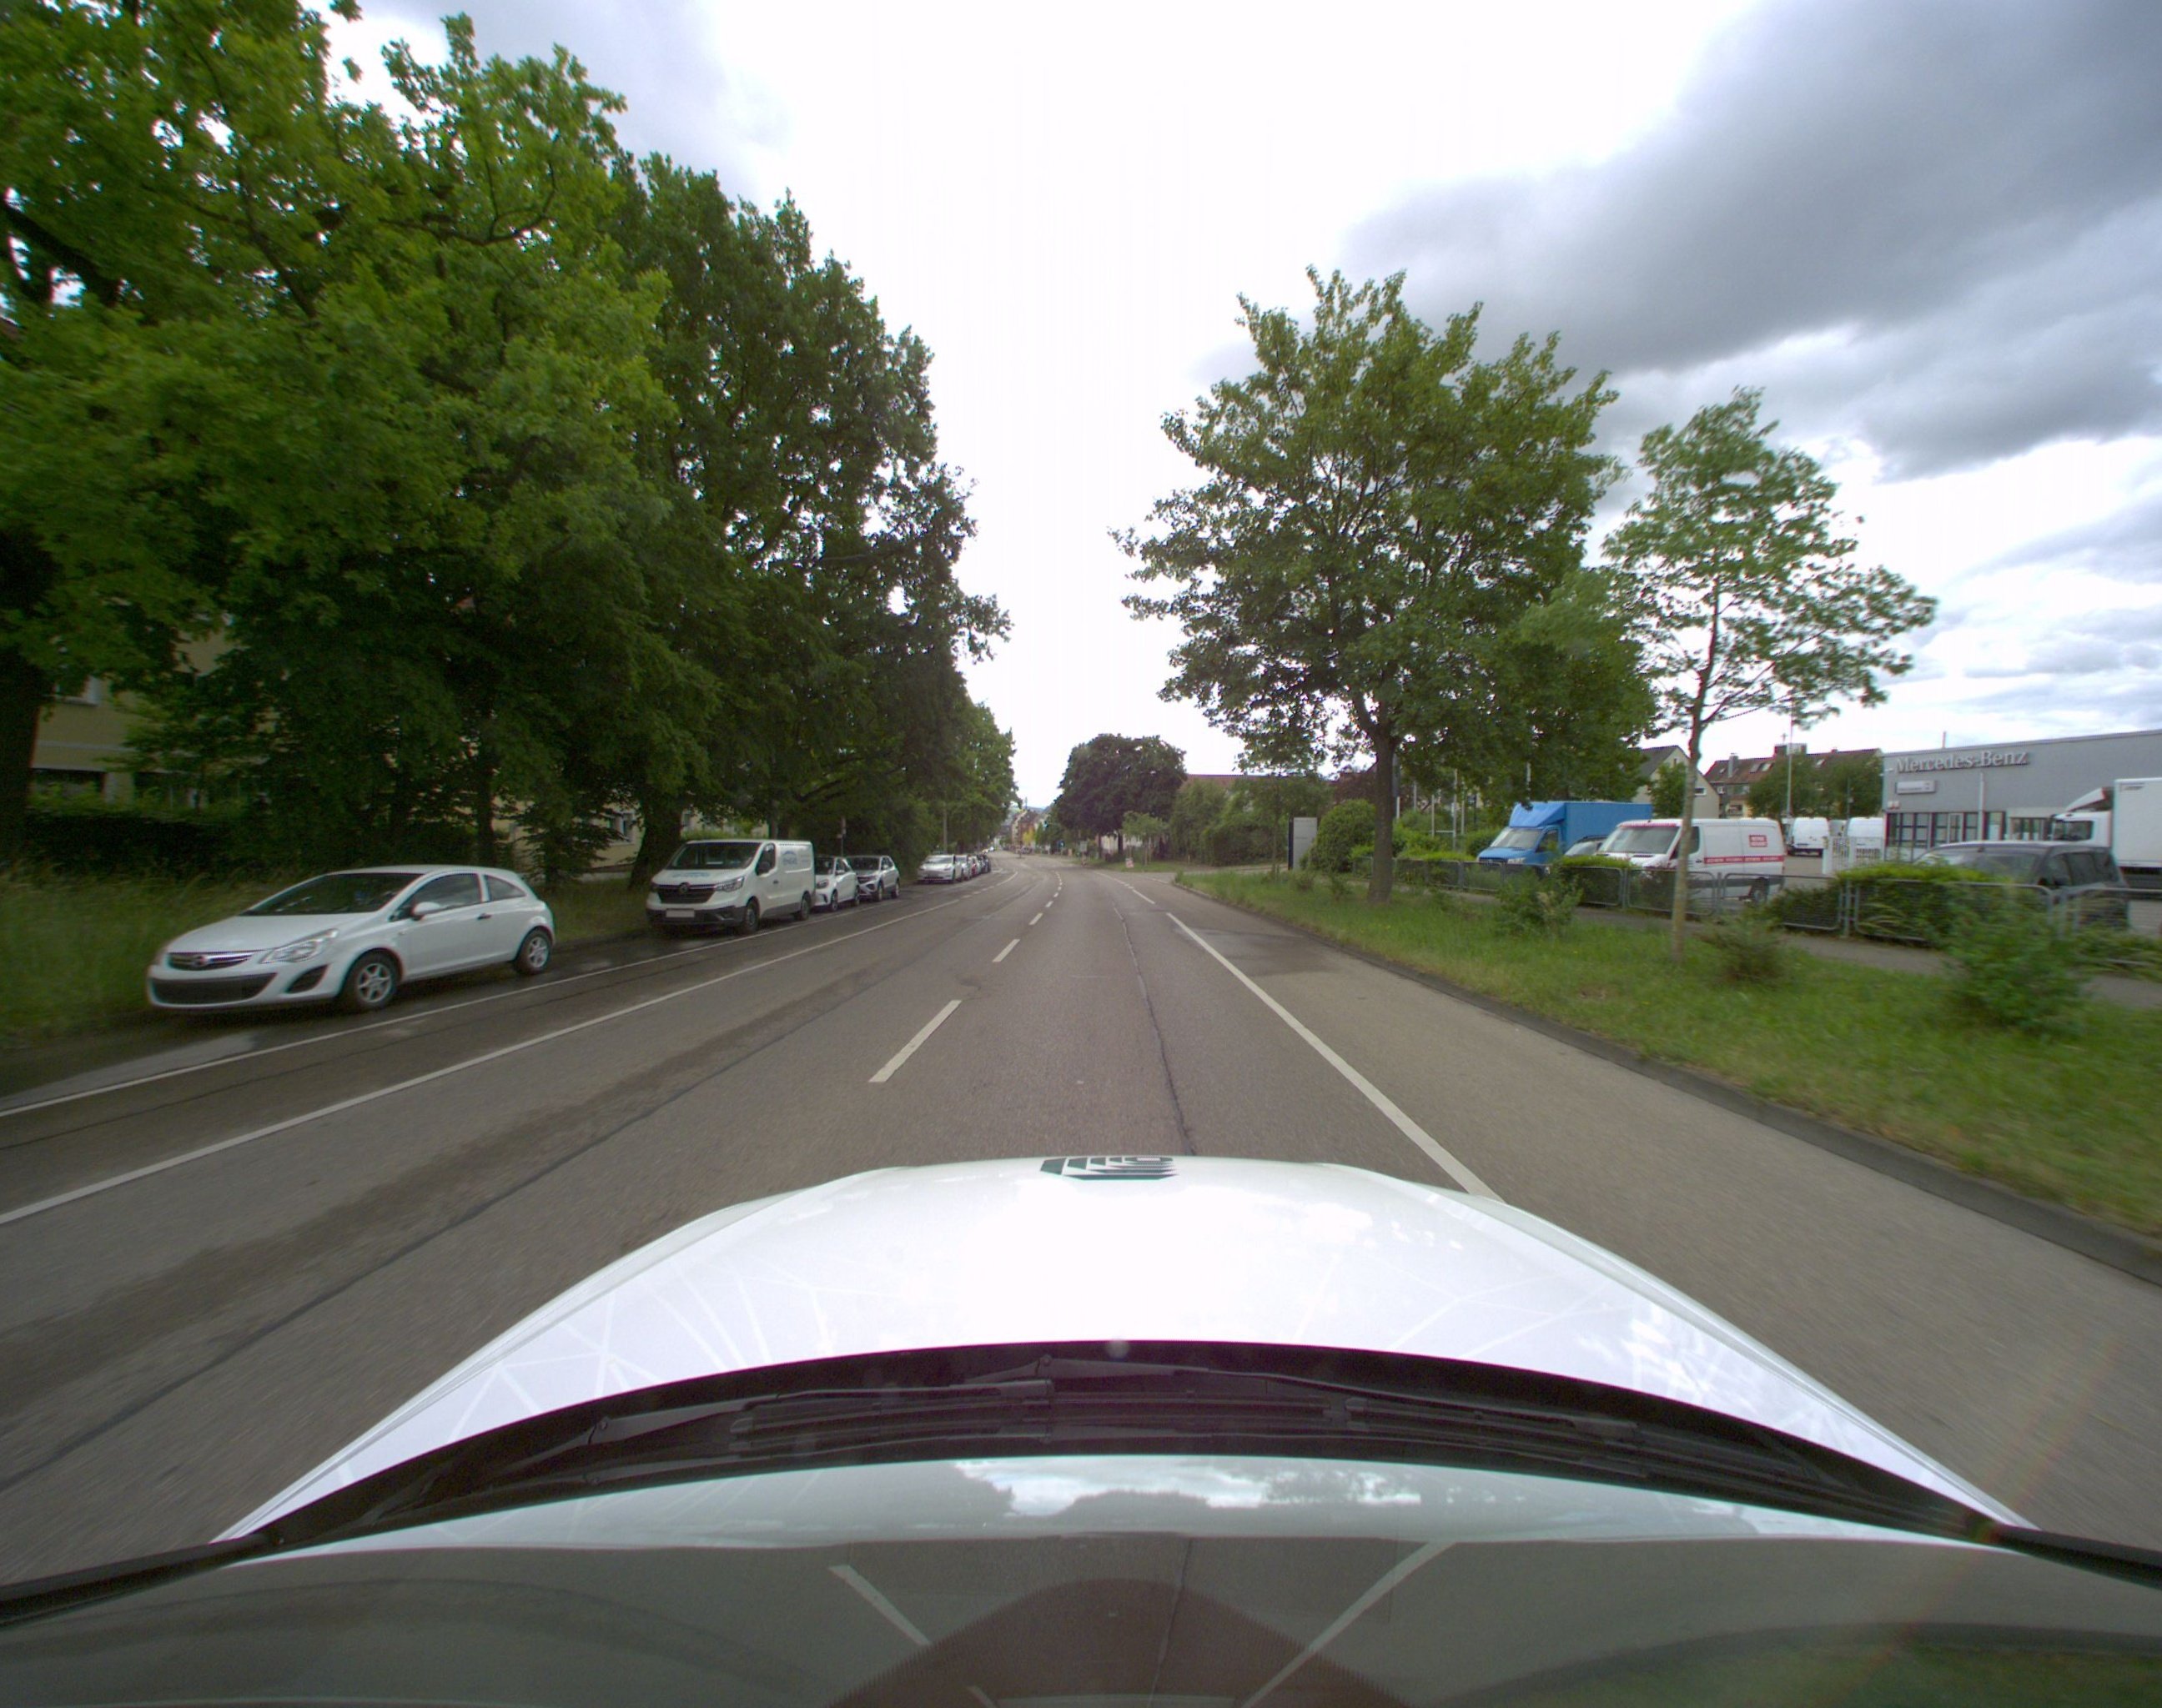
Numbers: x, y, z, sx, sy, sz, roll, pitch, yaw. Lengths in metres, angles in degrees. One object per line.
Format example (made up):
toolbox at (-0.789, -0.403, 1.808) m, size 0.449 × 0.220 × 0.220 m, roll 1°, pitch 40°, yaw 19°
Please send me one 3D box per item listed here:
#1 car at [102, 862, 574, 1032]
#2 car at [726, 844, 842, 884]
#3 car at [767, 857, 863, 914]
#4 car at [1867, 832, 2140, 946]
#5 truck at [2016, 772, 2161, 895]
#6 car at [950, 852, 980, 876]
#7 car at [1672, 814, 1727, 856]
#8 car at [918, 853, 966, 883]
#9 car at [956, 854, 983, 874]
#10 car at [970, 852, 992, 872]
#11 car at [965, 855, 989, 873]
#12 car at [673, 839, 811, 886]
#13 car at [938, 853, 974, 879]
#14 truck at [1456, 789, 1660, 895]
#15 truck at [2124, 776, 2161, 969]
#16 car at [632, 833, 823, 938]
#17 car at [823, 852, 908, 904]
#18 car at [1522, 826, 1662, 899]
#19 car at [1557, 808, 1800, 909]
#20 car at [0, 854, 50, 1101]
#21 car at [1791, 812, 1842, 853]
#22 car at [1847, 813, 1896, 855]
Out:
car at (-7.938, 0.851, 9.355) m, size 1.657 × 1.479 × 4.089 m, roll 0°, pitch 0°, yaw 0°
car at (-13.370, 0.431, 36.785) m, size 4.414 × 1.455 × 1.888 m, roll 4°, pitch 0°, yaw 2°
car at (-7.538, 0.840, 23.427) m, size 1.576 × 1.482 × 3.718 m, roll 0°, pitch 0°, yaw -1°
car at (15.151, 0.513, 13.377) m, size 4.007 × 1.629 × 1.983 m, roll 1°, pitch 0°, yaw -26°
truck at (31.939, -0.560, 21.489) m, size 2.853 × 3.459 × 9.510 m, roll 1°, pitch 0°, yaw -10°
car at (-7.953, 0.677, 55.961) m, size 1.712 × 1.573 × 4.364 m, roll 0°, pitch 0°, yaw -4°
car at (42.688, -1.357, 56.169) m, size 5.482 × 2.676 × 2.235 m, roll -3°, pitch 3°, yaw -44°
car at (-7.605, 0.744, 44.997) m, size 1.761 × 1.573 × 4.759 m, roll -1°, pitch 0°, yaw 0°
car at (-8.314, 0.753, 61.020) m, size 1.712 × 1.459 × 4.749 m, roll 0°, pitch 0°, yaw -4°
car at (-8.892, 0.689, 72.762) m, size 1.712 × 1.612 × 4.529 m, roll 0°, pitch 1°, yaw -4°
car at (-8.503, 0.795, 66.860) m, size 1.712 × 1.389 × 4.332 m, roll 0°, pitch 0°, yaw -4°
car at (-13.005, 0.320, 31.468) m, size 4.423 × 1.450 × 1.867 m, roll 4°, pitch 0°, yaw -4°
car at (-7.686, 0.728, 50.332) m, size 1.865 × 1.573 × 4.114 m, roll 0°, pitch 0°, yaw -4°
truck at (17.209, -0.438, 29.341) m, size 7.194 × 3.477 × 2.599 m, roll -1°, pitch 0°, yaw -23°
truck at (15.565, 0.251, 9.975) m, size 6.265 × 2.212 × 2.228 m, roll 1°, pitch 0°, yaw -26°
car at (-7.420, 0.582, 17.778) m, size 1.860 × 1.963 × 5.127 m, roll 0°, pitch 0°, yaw 1°
car at (-7.361, 0.768, 28.266) m, size 1.760 × 1.633 × 4.159 m, roll 0°, pitch 0°, yaw 1°
car at (15.823, 0.260, 25.196) m, size 4.009 × 2.075 × 1.908 m, roll 1°, pitch 0°, yaw -27°
car at (15.744, 0.130, 21.445) m, size 6.034 × 2.367 × 2.345 m, roll 1°, pitch 0°, yaw -22°
car at (-7.732, 0.793, 3.276) m, size 1.667 × 1.564 × 4.282 m, roll -1°, pitch 0°, yaw 1°
car at (50.946, -1.512, 56.383) m, size 5.482 × 2.676 × 2.235 m, roll -3°, pitch 3°, yaw -44°
car at (53.790, -1.374, 55.382) m, size 5.482 × 2.676 × 2.235 m, roll -3°, pitch 3°, yaw -44°
